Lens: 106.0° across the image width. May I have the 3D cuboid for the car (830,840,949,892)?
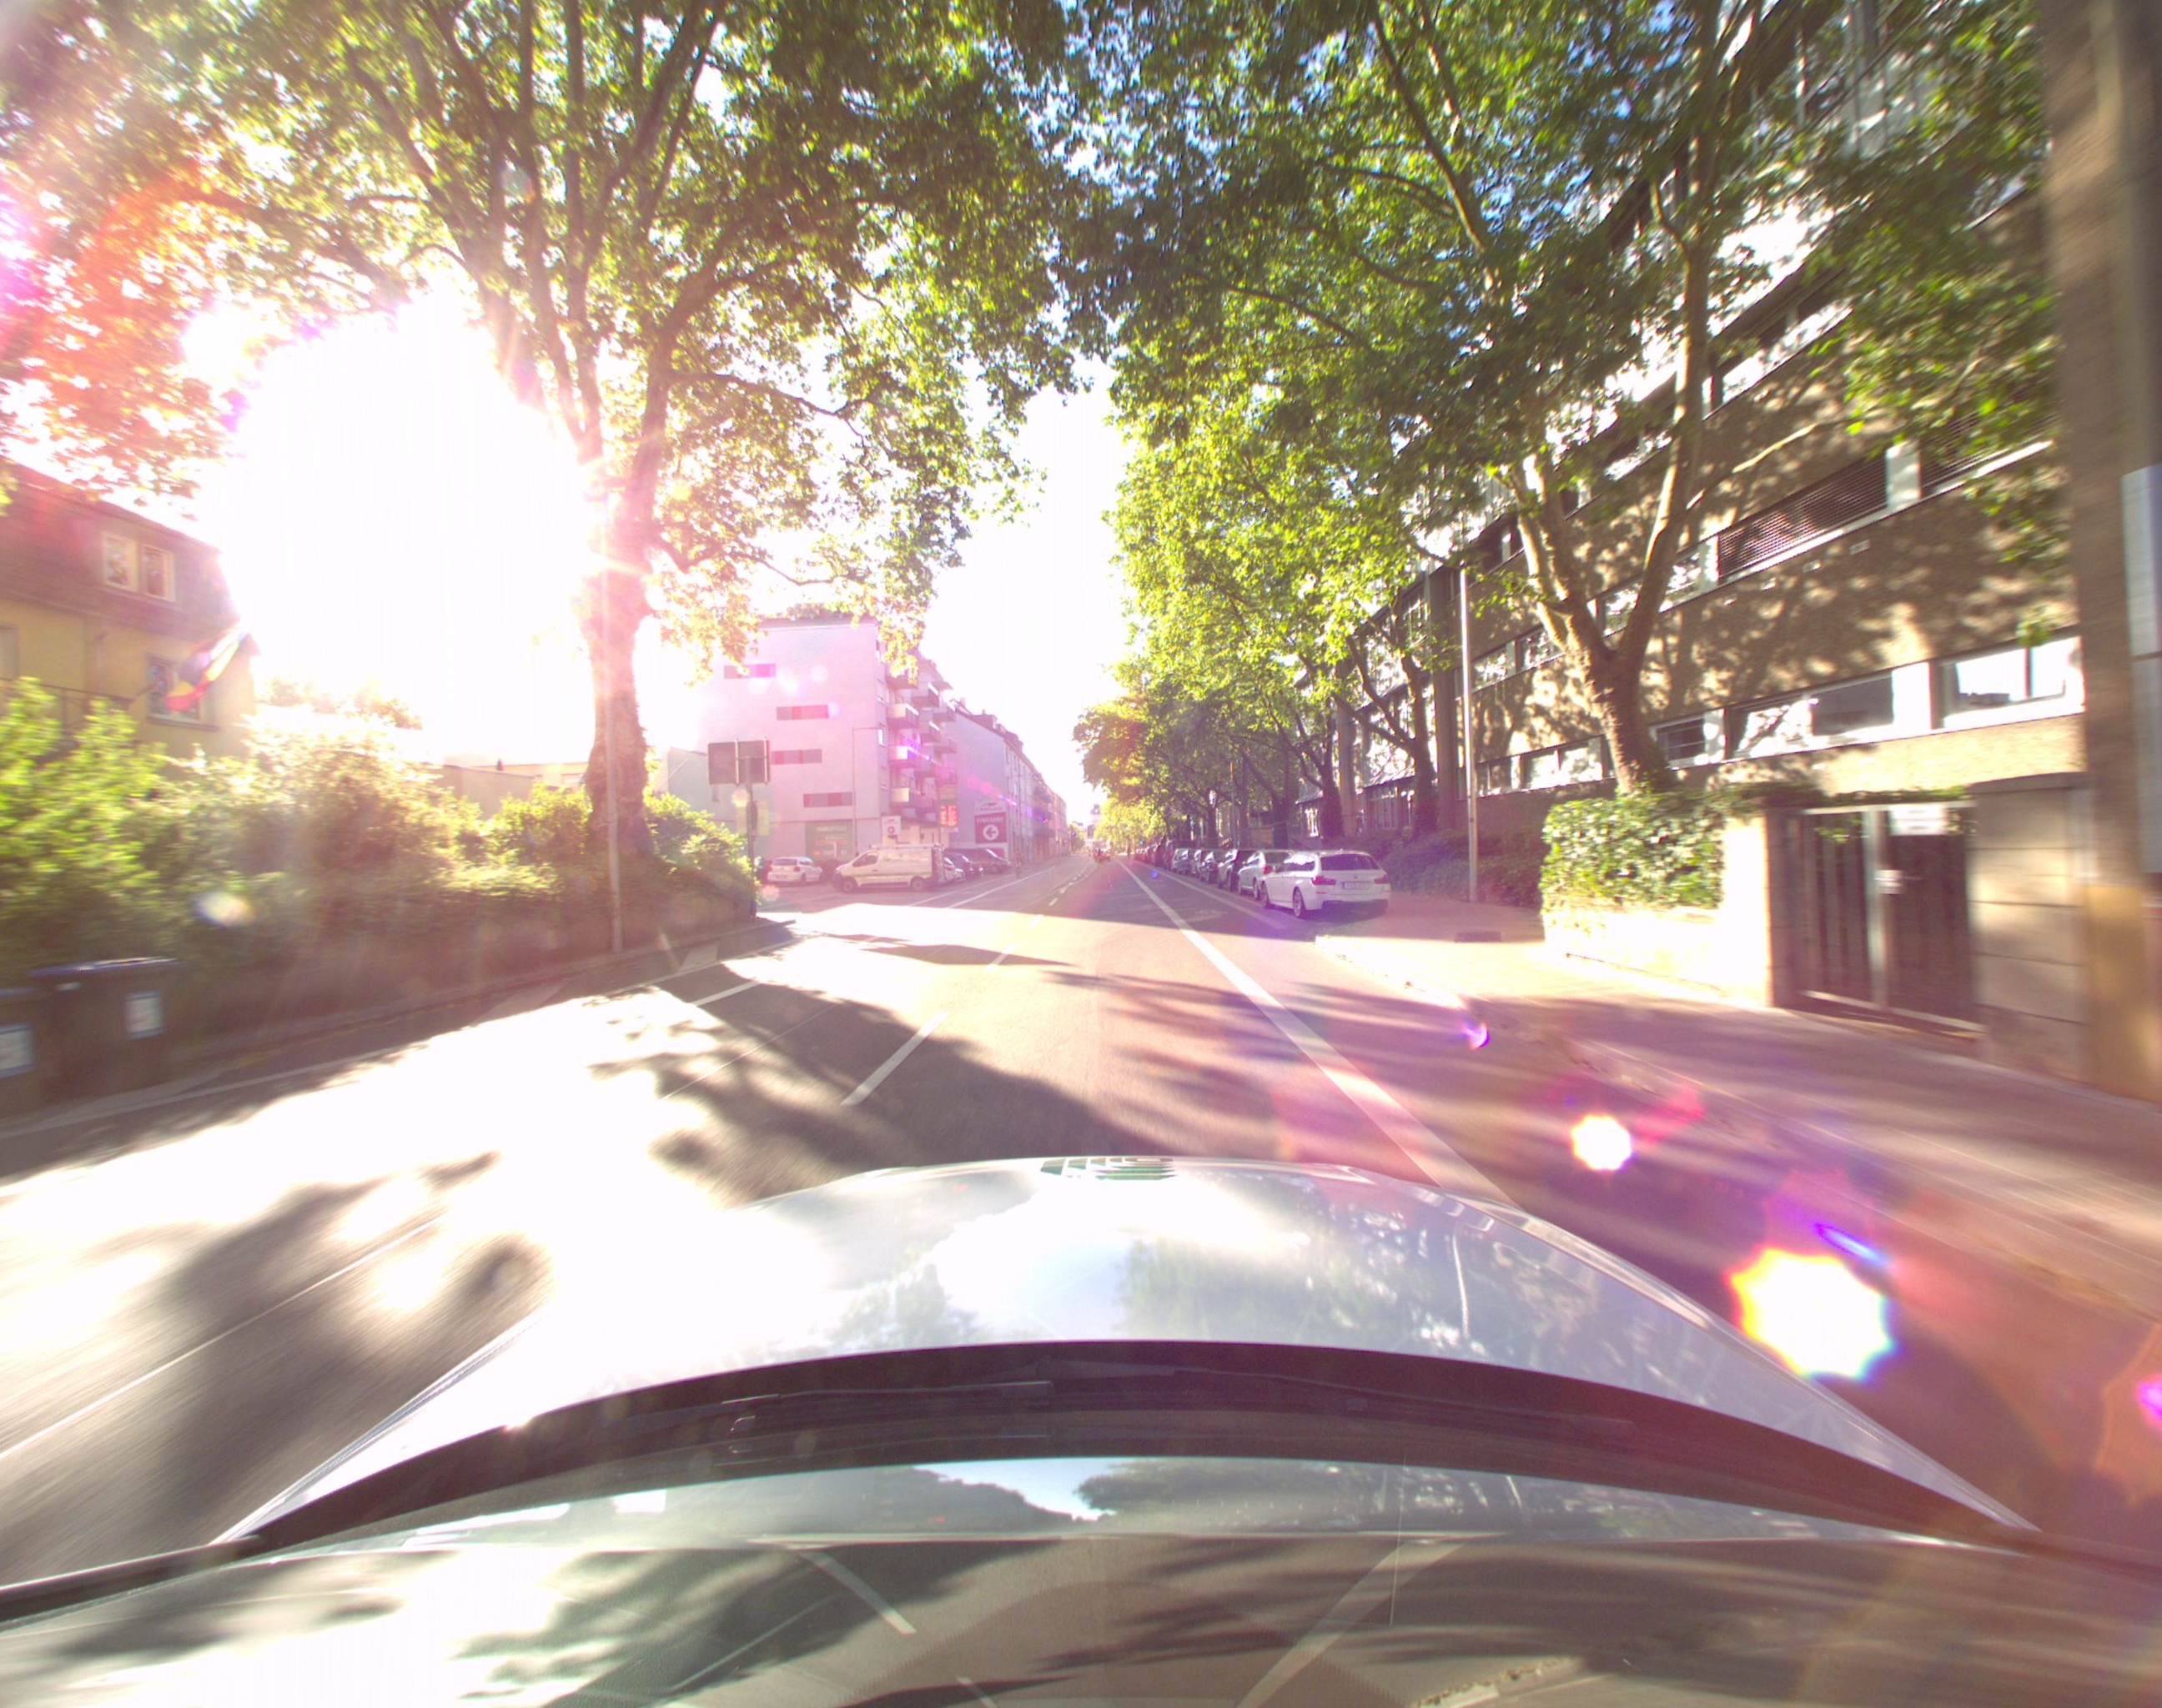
[{"bbox_3d":[-8.585,0.516,36.882,4.827,2.216,2.140,-1,0,1],"label":"car"}]

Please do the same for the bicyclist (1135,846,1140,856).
[{"bbox_3d":[8.290,-0.428,118.841,0.654,1.530,0.906,-1,0,1],"label":"bicyclist"}]

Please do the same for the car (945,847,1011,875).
[{"bbox_3d":[-7.455,0.495,59.186,4.506,1.951,2.057,0,0,1],"label":"car"}]

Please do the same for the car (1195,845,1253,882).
[{"bbox_3d":[6.242,0.377,36.040,1.849,1.522,4.600,0,1,1],"label":"car"}]

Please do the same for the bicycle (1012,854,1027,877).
[{"bbox_3d":[-3.726,0.683,49.495,0.604,1.239,2.050,-4,1,1],"label":"bicycle"}]

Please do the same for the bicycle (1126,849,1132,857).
[{"bbox_3d":[6.528,-0.089,110.444,0.654,1.070,1.927,-1,0,1],"label":"bicycle"}]

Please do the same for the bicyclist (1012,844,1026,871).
[{"bbox_3d":[-3.770,0.210,49.641,0.604,1.544,0.934,-4,1,1],"label":"bicyclist"}]

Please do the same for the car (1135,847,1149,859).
[{"bbox_3d":[7.739,-0.169,103.581,1.686,1.466,4.068,0,0,2],"label":"car"}]

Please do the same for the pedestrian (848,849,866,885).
[{"bbox_3d":[-11.464,0.665,41.650,0.629,1.789,0.722,-2,1,1],"label":"pedestrian"}]

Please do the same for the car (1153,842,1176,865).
[{"bbox_3d":[6.788,-0.074,66.632,1.686,1.812,4.133,0,0,3],"label":"car"}]

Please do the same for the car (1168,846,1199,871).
[{"bbox_3d":[6.383,0.258,50.892,1.631,1.485,3.763,0,1,3],"label":"car"}]

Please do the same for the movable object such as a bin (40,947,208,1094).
[{"bbox_3d":[-7.985,1.366,6.824,0.592,1.071,0.645,-2,0,1],"label":"movable object such as a bin"}]

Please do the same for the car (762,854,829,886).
[{"bbox_3d":[-14.027,0.753,40.218,1.783,1.464,4.001,0,1,1],"label":"car"}]

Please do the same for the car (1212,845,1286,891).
[{"bbox_3d":[6.018,0.444,29.683,1.849,1.522,4.297,-1,0,1],"label":"car"}]

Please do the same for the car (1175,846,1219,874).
[{"bbox_3d":[6.511,0.312,46.130,1.850,1.510,3.927,0,1,-1],"label":"car"}]

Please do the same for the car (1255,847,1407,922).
[{"bbox_3d":[5.534,0.599,18.784,1.850,1.436,4.967,-2,0,-2],"label":"car"}]

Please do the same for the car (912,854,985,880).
[{"bbox_3d":[-7.883,0.759,48.819,3.973,1.455,1.916,-1,0,1],"label":"car"}]

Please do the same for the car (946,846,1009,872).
[{"bbox_3d":[-7.848,0.345,62.058,4.405,1.951,2.147,0,0,1],"label":"car"}]

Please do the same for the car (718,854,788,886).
[{"bbox_3d":[-16.353,0.765,40.808,1.783,1.464,4.001,0,1,1],"label":"car"}]

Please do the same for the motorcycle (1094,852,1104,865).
[{"bbox_3d":[1.843,0.485,84.572,1.009,1.306,2.673,-2,0,1],"label":"motorcycle"}]

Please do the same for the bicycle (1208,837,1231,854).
[{"bbox_3d":[16.781,-1.030,98.552,2.588,2.013,0.743,-3,0,1],"label":"bicycle"}]

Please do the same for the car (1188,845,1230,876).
[{"bbox_3d":[6.514,0.300,41.695,1.608,1.475,3.493,0,1,1],"label":"car"}]

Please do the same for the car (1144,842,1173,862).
[{"bbox_3d":[7.432,-0.168,78.238,1.823,1.841,4.888,0,0,-7],"label":"car"}]

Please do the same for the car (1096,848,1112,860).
[{"bbox_3d":[2.804,-0.008,98.179,1.822,1.420,3.815,-2,0,1],"label":"car"}]

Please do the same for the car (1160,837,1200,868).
[{"bbox_3d":[6.708,-0.105,55.511,2.072,1.994,5.170,0,0,-1],"label":"car"}]

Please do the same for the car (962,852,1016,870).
[{"bbox_3d":[-7.598,0.582,67.432,4.213,1.380,2.047,0,0,1],"label":"car"}]

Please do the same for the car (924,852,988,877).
[{"bbox_3d":[-7.826,0.673,51.166,3.672,1.513,1.831,0,0,1],"label":"car"}]

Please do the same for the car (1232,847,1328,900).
[{"bbox_3d":[5.958,0.521,24.889,1.849,1.436,4.603,-1,0,1],"label":"car"}]

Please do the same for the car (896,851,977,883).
[{"bbox_3d":[-8.147,0.695,46.130,4.179,1.684,2.028,-1,0,1],"label":"car"}]

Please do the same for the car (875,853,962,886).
[{"bbox_3d":[-8.223,0.785,41.397,3.973,1.559,1.853,-1,1,1],"label":"car"}]

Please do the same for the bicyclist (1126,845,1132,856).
[{"bbox_3d":[6.524,-0.447,110.464,0.654,1.530,0.852,-1,0,1],"label":"bicyclist"}]

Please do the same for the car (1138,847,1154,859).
[{"bbox_3d":[7.794,-0.118,97.985,1.686,1.479,4.320,0,0,2],"label":"car"}]

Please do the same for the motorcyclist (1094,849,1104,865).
[{"bbox_3d":[1.844,0.316,84.560,1.009,1.602,1.406,-2,0,1],"label":"motorcyclist"}]

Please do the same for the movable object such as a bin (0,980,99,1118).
[{"bbox_3d":[-8.110,1.469,6.158,0.539,0.901,0.645,-2,0,1],"label":"movable object such as a bin"}]

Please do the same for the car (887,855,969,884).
[{"bbox_3d":[-8.138,0.808,43.524,3.973,1.433,1.853,-1,1,1],"label":"car"}]
